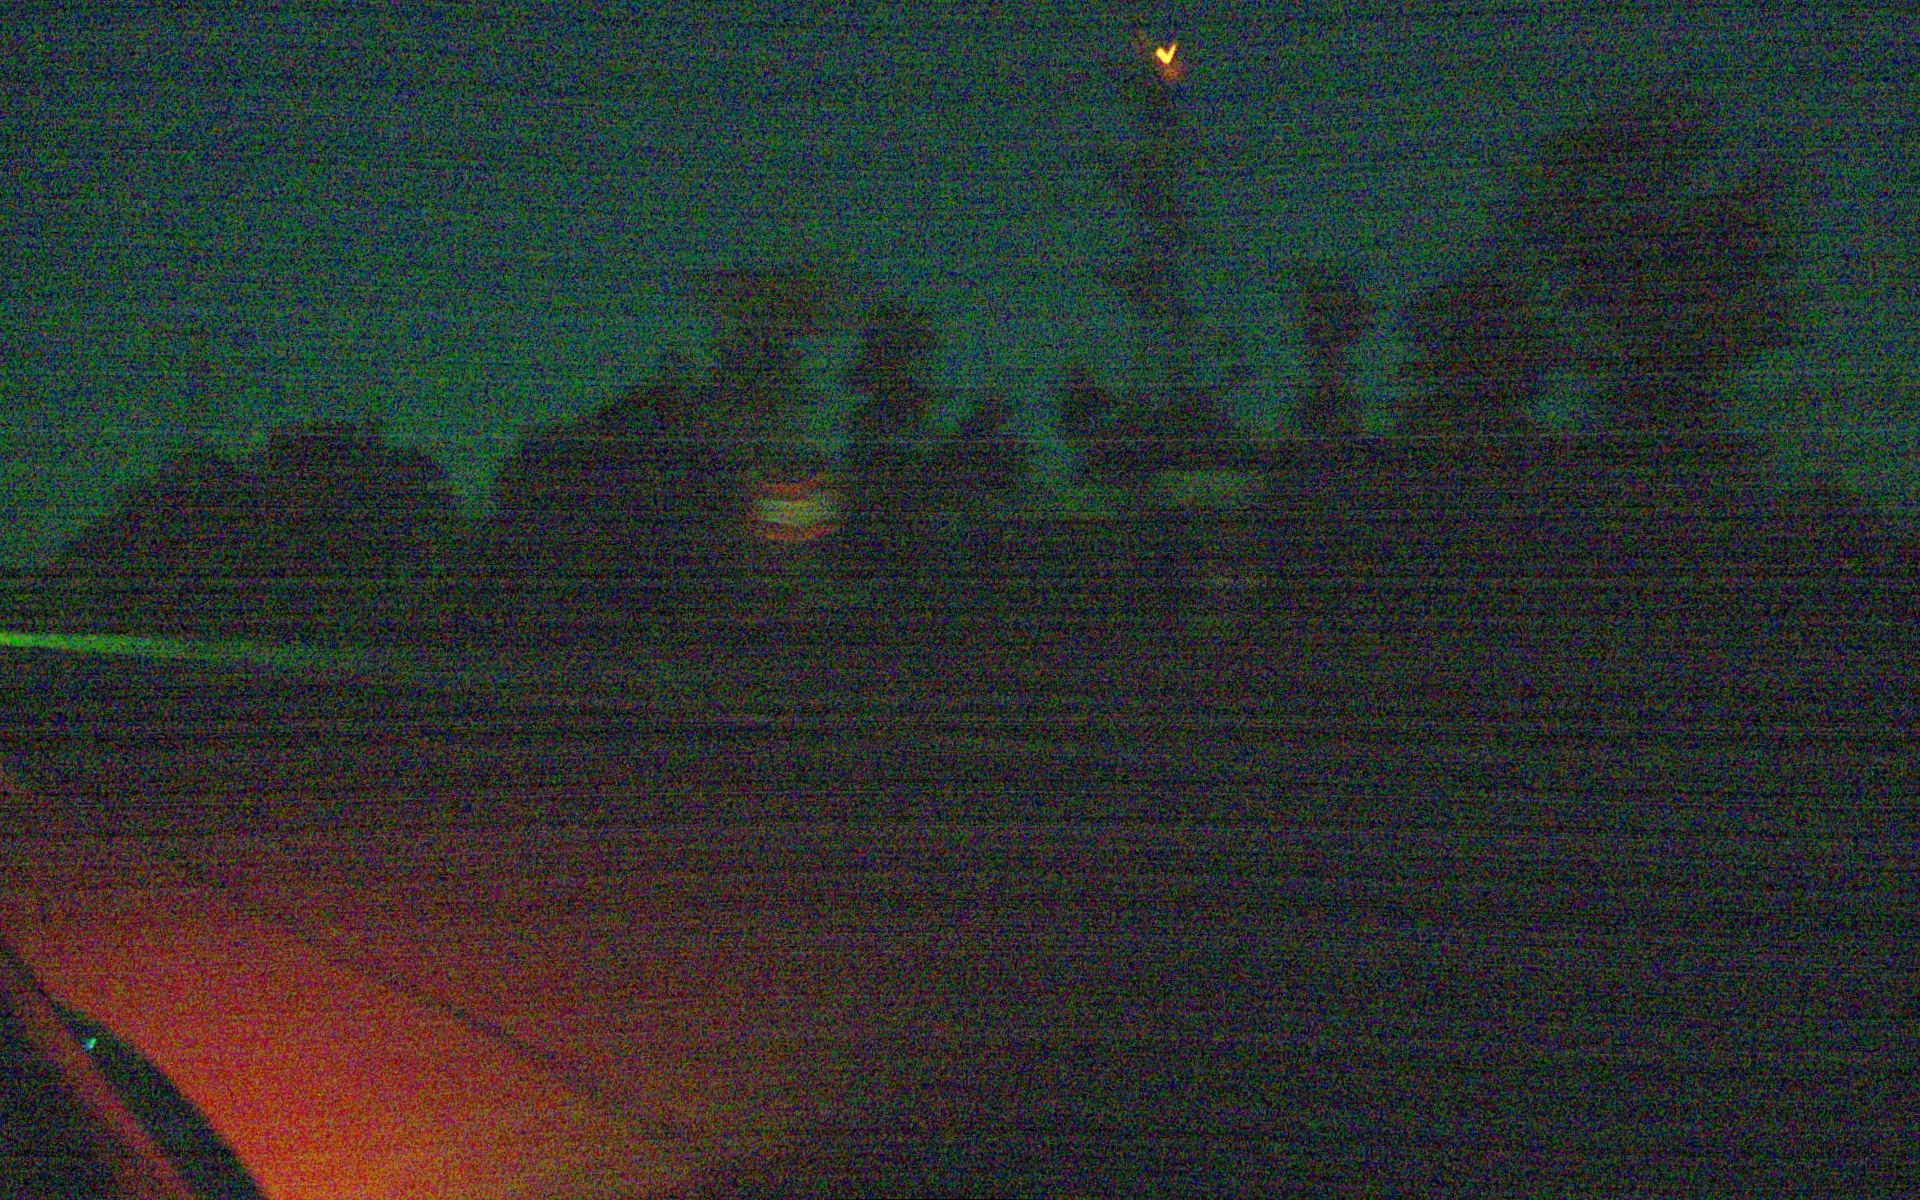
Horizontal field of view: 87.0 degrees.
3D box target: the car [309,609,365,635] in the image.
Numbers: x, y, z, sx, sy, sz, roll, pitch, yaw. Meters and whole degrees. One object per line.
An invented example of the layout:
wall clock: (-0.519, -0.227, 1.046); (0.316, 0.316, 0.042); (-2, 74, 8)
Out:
car: (-38.758, 1.361, 62.956); (3.998, 1.573, 1.877); (-1, 0, 41)
